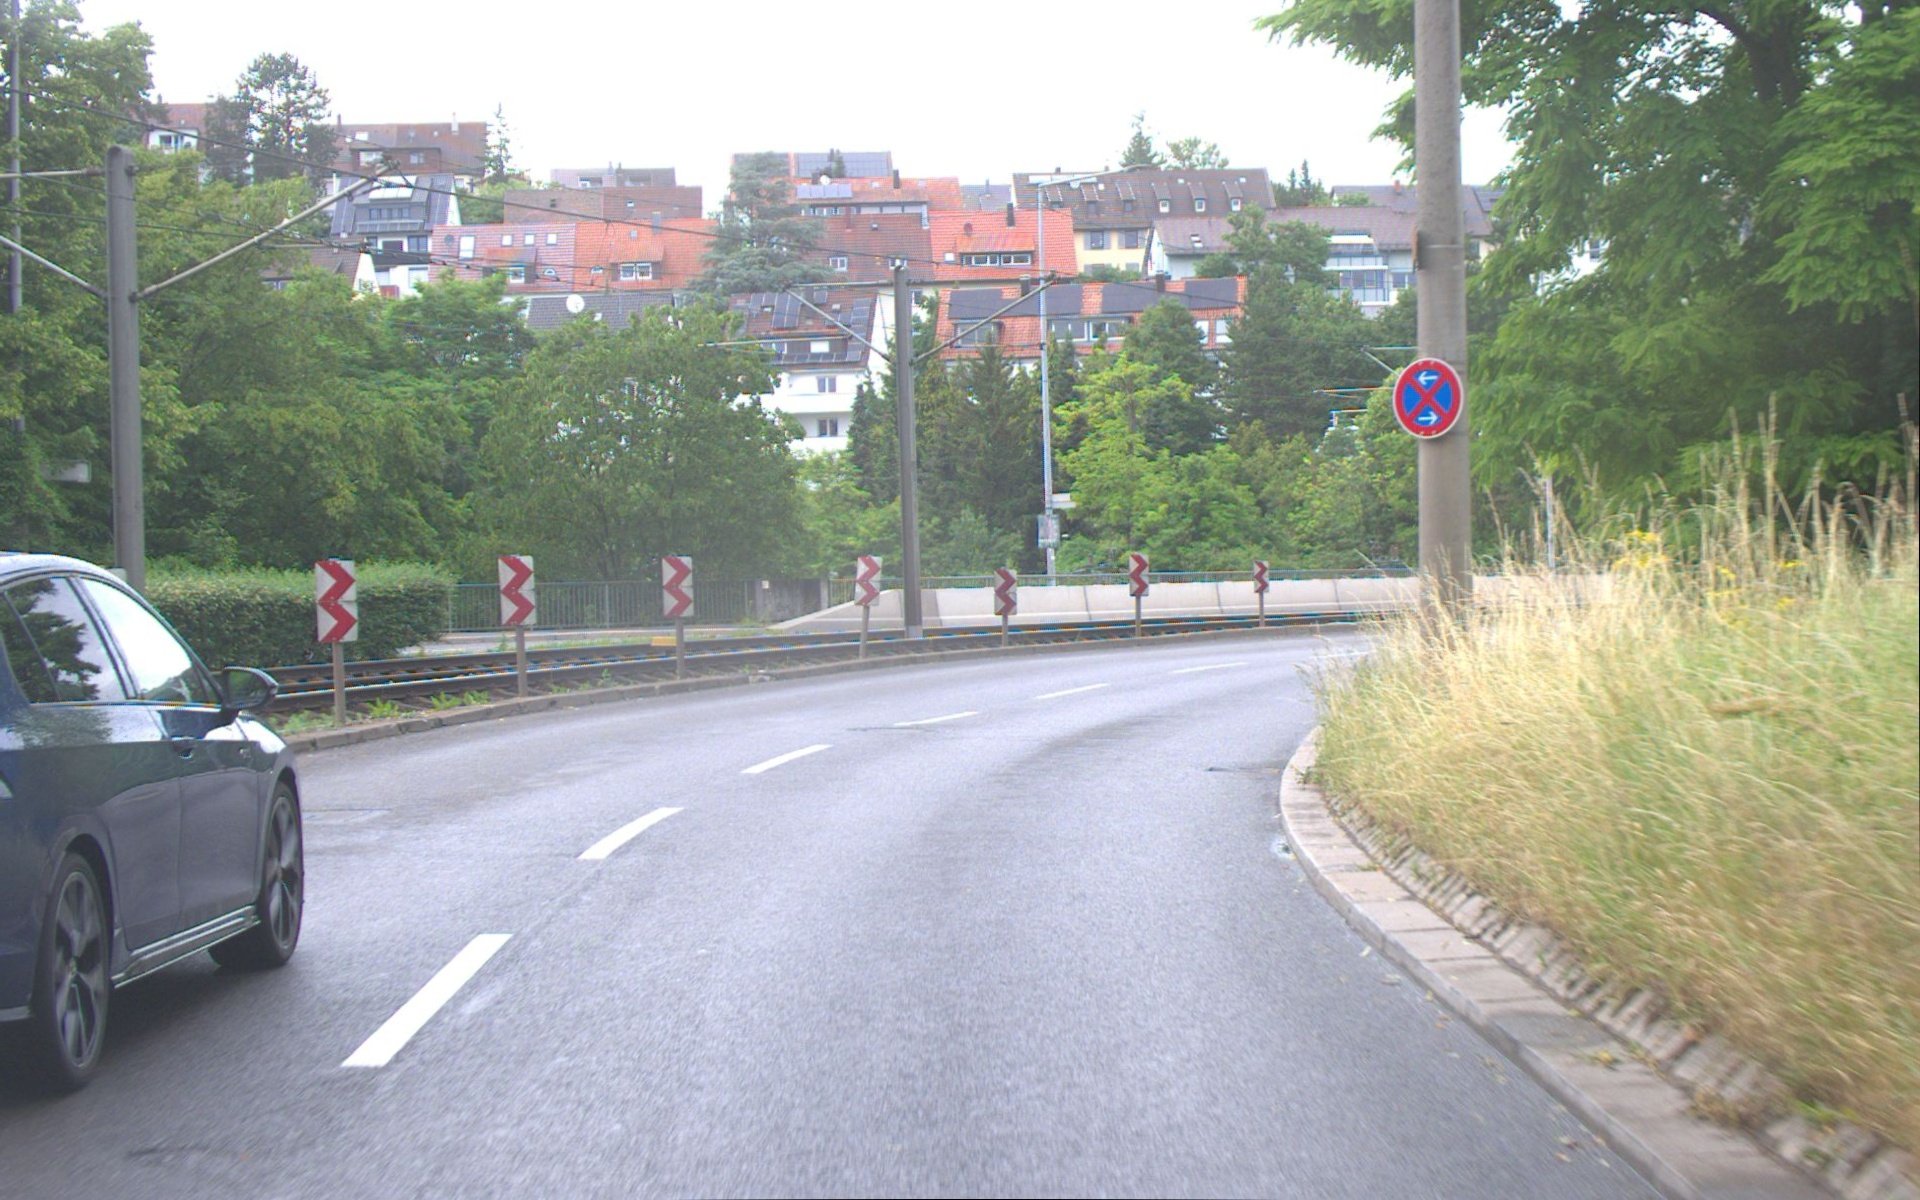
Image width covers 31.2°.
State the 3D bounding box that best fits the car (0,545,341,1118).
[{"bbox_3d":[-3.184,0.528,10.393,1.808,1.374,4.347,0,1,1],"label":"car"}]
